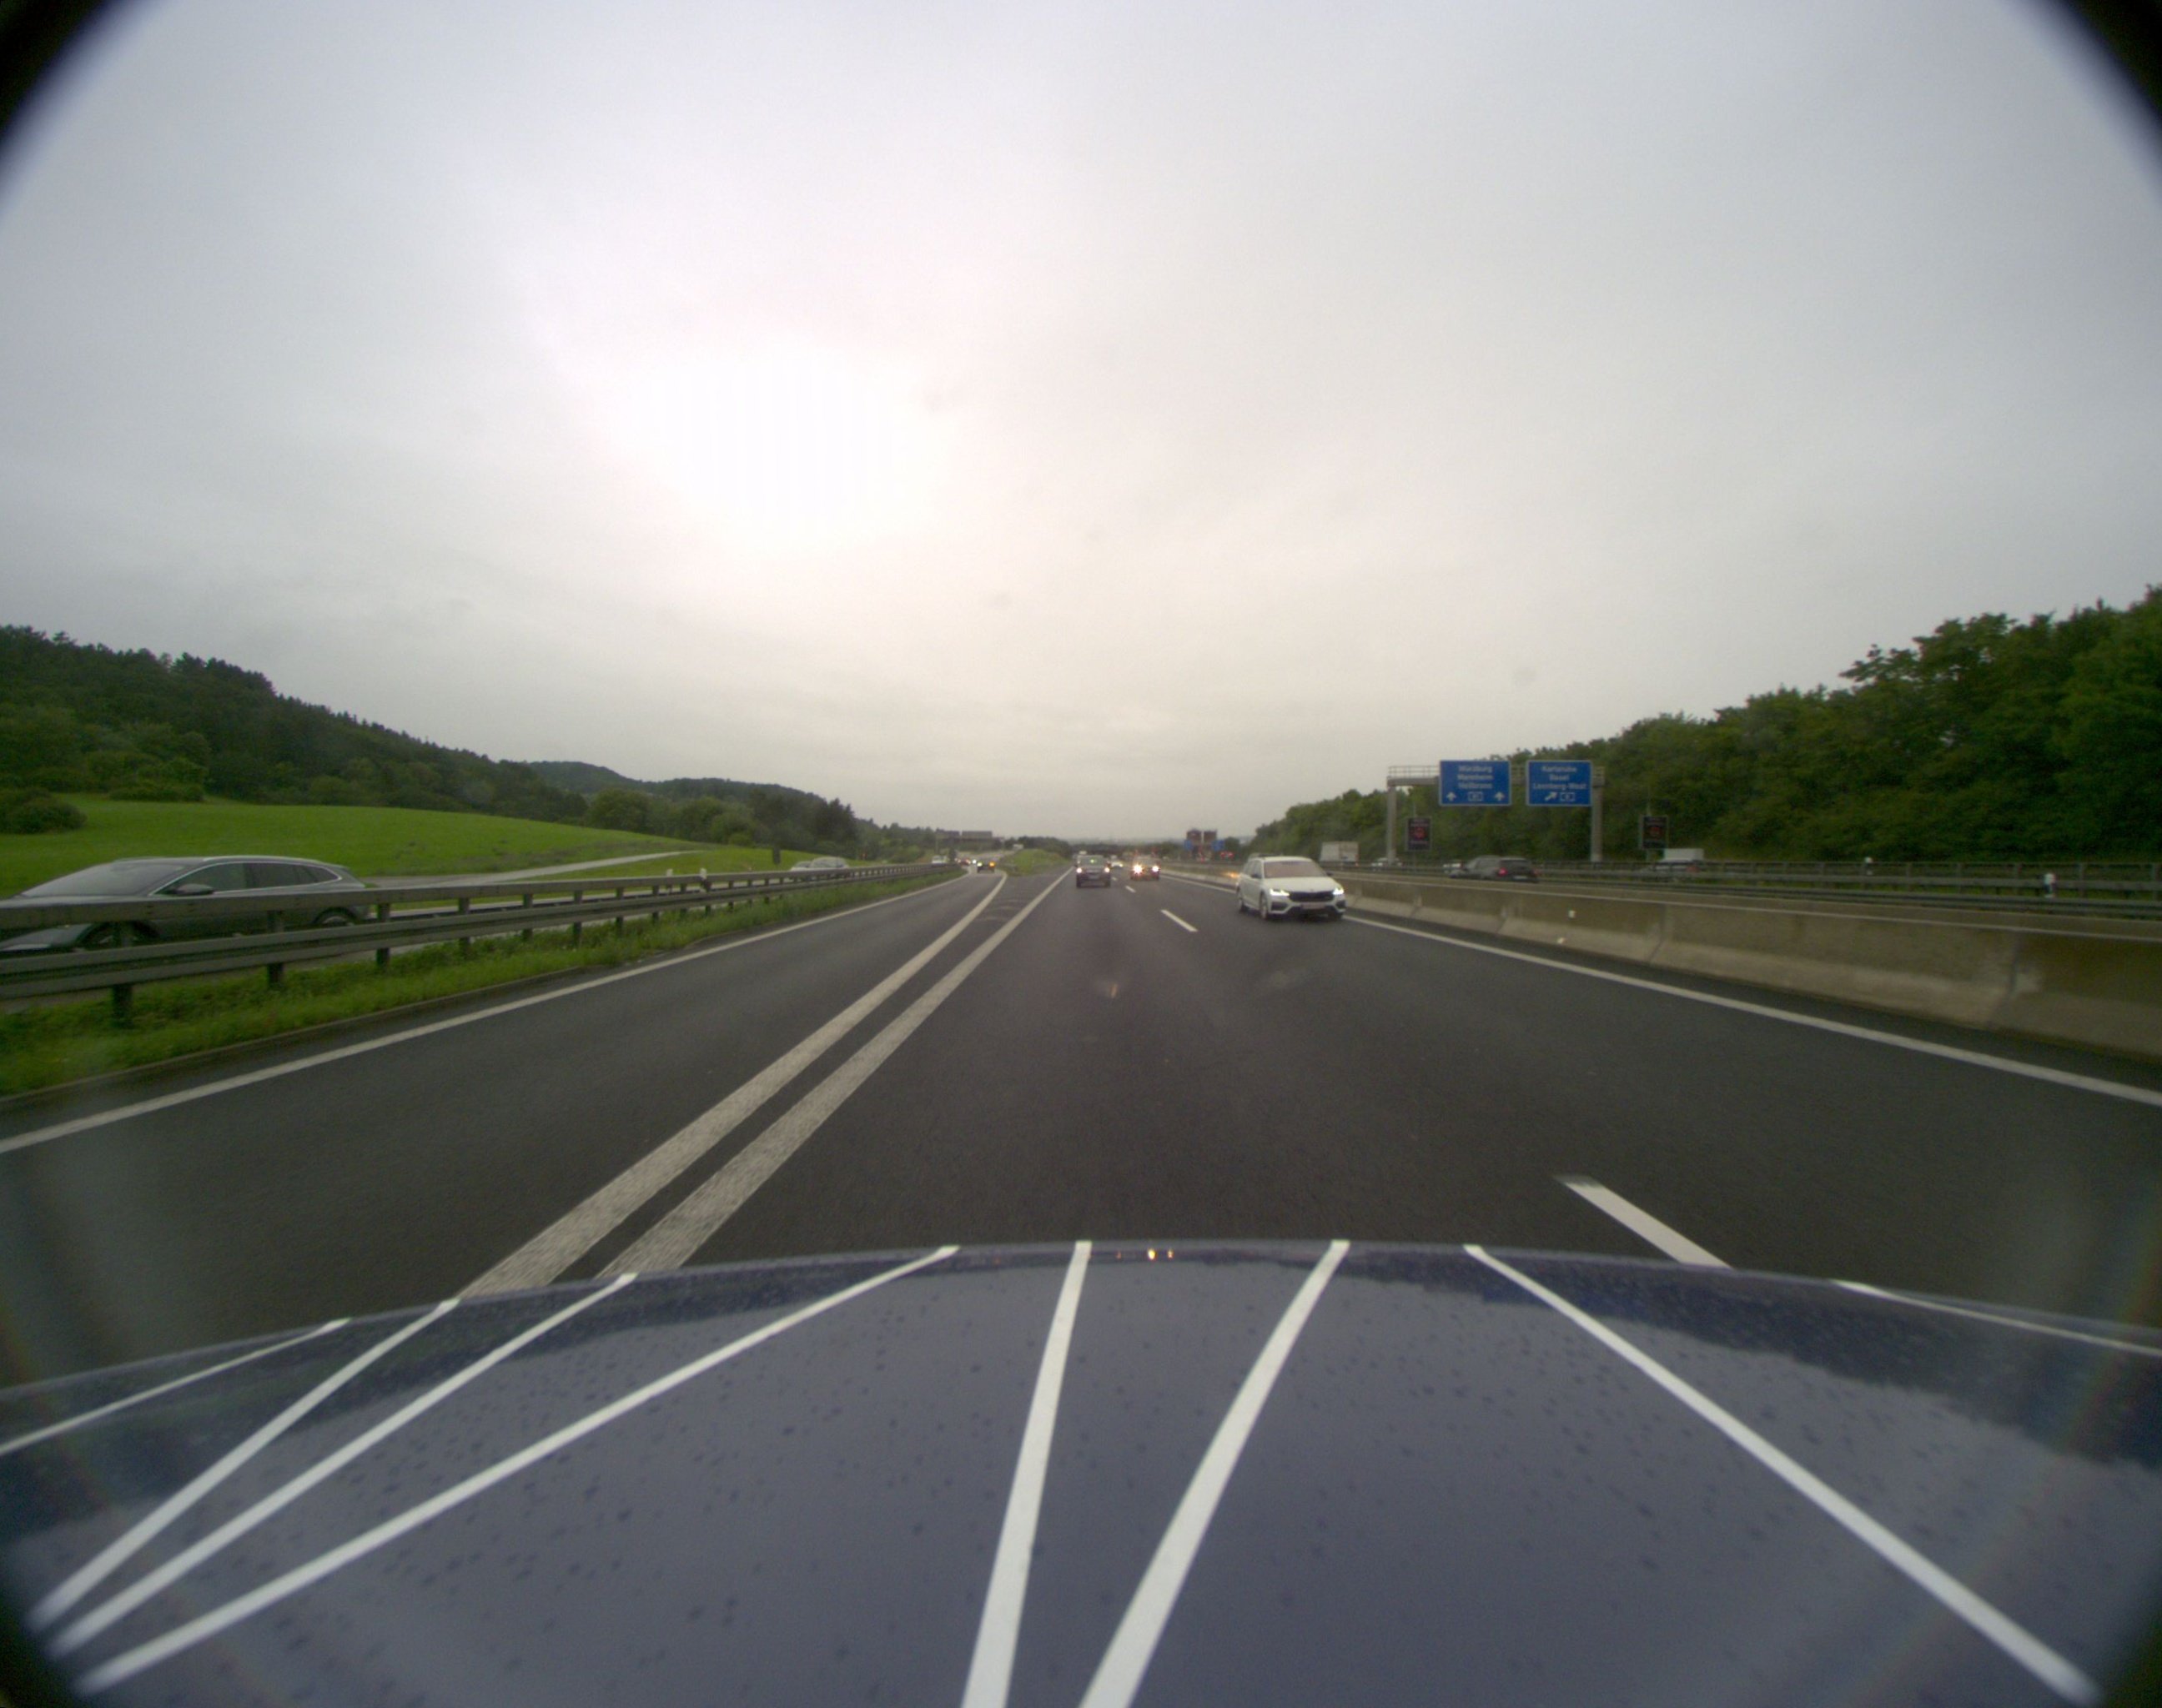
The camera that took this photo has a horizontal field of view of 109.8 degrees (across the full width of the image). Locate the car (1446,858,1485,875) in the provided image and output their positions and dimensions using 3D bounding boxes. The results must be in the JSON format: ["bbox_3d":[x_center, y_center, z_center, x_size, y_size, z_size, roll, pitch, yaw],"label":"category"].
[{"bbox_3d":[36.301,1.165,71.877,1.680,1.447,4.000,-2,0,0],"label":"car"}]

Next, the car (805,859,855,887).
[{"bbox_3d":[-13.406,0.978,40.829,1.672,1.374,4.123,-2,0,-6],"label":"car"}]

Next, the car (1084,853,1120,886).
[{"bbox_3d":[1.089,0.787,40.512,1.813,1.571,3.835,-2,0,1],"label":"car"}]

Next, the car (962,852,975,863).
[{"bbox_3d":[-22.134,0.687,149.191,2.130,2.002,5.074,-2,0,-5],"label":"car"}]

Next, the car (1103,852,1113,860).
[{"bbox_3d":[5.251,0.371,148.847,1.726,1.481,4.566,-2,0,-1],"label":"car"}]

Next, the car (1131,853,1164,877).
[{"bbox_3d":[4.370,0.680,50.660,1.726,1.481,4.566,-2,0,-1],"label":"car"}]

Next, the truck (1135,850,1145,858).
[{"bbox_3d":[18.664,-0.107,240.959,2.582,2.327,7.341,-2,0,1],"label":"truck"}]

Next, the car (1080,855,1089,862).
[{"bbox_3d":[0.826,1.106,172.591,1.919,1.481,4.566,-2,0,-1],"label":"car"}]

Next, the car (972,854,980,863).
[{"bbox_3d":[-26.469,1.134,191.417,1.829,2.012,3.997,-2,1,-8],"label":"car"}]

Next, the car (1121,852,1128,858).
[{"bbox_3d":[14.602,0.307,253.572,1.875,1.671,4.776,-2,0,-2],"label":"car"}]

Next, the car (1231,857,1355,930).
[{"bbox_3d":[5.026,0.860,18.727,1.823,1.447,4.778,-2,0,2],"label":"car"}]

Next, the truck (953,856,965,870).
[{"bbox_3d":[-36.711,2.654,228.870,2.800,3.878,10.022,-2,0,-5],"label":"truck"}]

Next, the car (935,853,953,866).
[{"bbox_3d":[-18.793,0.781,104.241,1.914,1.684,4.716,-2,0,-5],"label":"car"}]

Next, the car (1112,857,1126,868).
[{"bbox_3d":[5.248,1.179,105.993,1.726,1.481,4.567,-2,0,0],"label":"car"}]

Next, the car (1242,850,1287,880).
[{"bbox_3d":[13.131,0.742,54.761,1.998,2.002,4.982,-2,0,0],"label":"car"}]

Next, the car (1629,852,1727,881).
[{"bbox_3d":[32.779,0.639,41.907,1.823,1.484,4.474,-2,0,-1],"label":"car"}]

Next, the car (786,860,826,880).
[{"bbox_3d":[-22.401,1.245,62.059,1.904,1.446,4.707,-2,0,-5],"label":"car"}]

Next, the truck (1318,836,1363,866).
[{"bbox_3d":[35.960,-0.473,105.725,3.082,3.856,9.634,-2,0,1],"label":"truck"}]

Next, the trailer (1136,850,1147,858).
[{"bbox_3d":[18.595,-0.051,233.429,2.582,2.327,7.946,-2,0,1],"label":"trailer"}]

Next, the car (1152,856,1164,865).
[{"bbox_3d":[13.661,1.077,134.845,1.760,1.447,4.417,-2,0,0],"label":"car"}]

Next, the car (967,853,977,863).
[{"bbox_3d":[-24.202,0.849,168.938,1.828,2.012,3.997,-2,1,-6],"label":"car"}]

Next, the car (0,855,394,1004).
[{"bbox_3d":[-12.533,0.853,10.613,1.775,1.600,4.641,-2,0,-3],"label":"car"}]

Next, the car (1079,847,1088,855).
[{"bbox_3d":[0.631,-0.724,178.813,2.016,1.994,4.566,-2,1,-1],"label":"car"}]

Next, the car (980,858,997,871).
[{"bbox_3d":[-10.550,1.219,86.579,1.868,1.349,4.563,-2,0,-8],"label":"car"}]

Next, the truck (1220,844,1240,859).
[{"bbox_3d":[33.518,-0.552,171.266,2.858,3.202,9.078,-2,0,1],"label":"truck"}]

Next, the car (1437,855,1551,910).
[{"bbox_3d":[16.883,1.069,31.385,1.998,2.002,4.982,-2,0,0],"label":"car"}]

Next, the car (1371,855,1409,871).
[{"bbox_3d":[28.930,0.824,71.348,1.680,1.447,4.632,-2,0,0],"label":"car"}]
